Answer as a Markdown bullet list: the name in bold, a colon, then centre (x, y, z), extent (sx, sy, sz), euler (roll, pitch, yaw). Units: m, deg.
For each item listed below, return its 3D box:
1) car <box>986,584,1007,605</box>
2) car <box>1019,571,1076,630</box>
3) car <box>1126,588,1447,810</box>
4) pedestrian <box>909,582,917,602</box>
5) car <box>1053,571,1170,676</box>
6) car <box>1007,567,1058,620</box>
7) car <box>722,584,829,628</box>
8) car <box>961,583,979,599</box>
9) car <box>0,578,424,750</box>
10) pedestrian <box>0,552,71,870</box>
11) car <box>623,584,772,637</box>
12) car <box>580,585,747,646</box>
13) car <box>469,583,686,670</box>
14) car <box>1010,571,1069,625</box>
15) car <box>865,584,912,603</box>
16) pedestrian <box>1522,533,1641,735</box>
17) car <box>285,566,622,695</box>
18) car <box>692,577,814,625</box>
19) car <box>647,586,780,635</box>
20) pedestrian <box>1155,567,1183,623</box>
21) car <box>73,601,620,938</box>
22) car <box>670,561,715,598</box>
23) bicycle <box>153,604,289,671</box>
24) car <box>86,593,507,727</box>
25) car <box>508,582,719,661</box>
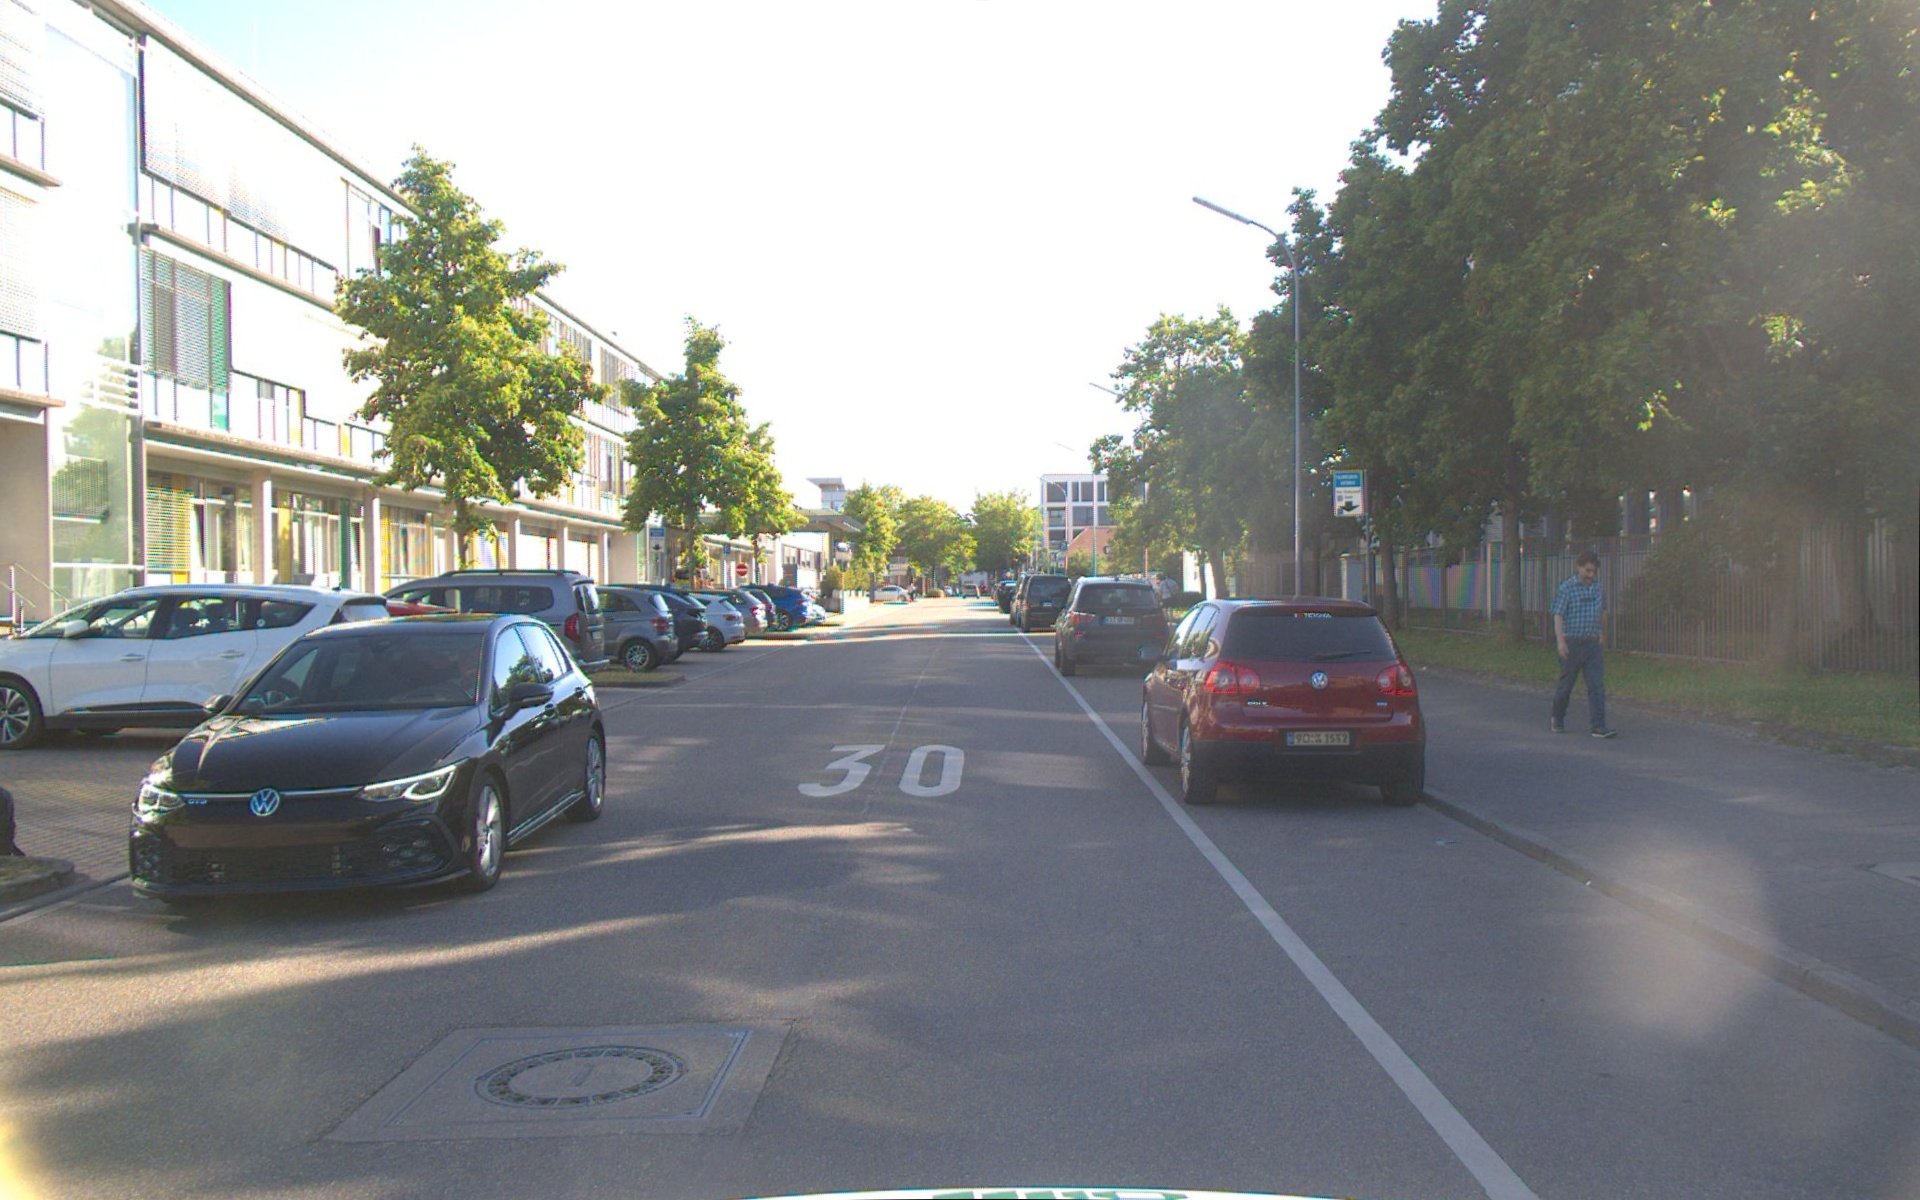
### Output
- **car**: centre (3.673, -0.522, 167.257), extent (1.952, 2.049, 4.000), euler (-1, -1, 0)
- **car**: centre (2.834, -0.008, 54.456), extent (1.697, 1.862, 3.906), euler (-1, 0, 1)
- **car**: centre (2.433, 0.652, 13.455), extent (1.684, 1.480, 4.652), euler (0, 0, 0)
- **pedestrian**: centre (-3.887, -0.660, 137.169), extent (0.606, 1.652, 0.716), euler (-2, 0, 0)
- **car**: centre (2.626, 0.346, 29.495), extent (1.774, 1.695, 4.594), euler (0, 1, 2)
- **car**: centre (2.898, -0.261, 66.944), extent (1.836, 2.013, 4.000), euler (-2, 1, 0)
- **car**: centre (-7.030, 0.213, 63.385), extent (3.907, 1.579, 1.999), euler (-1, 1, -2)
- **car**: centre (1.047, -0.962, 172.209), extent (1.707, 1.570, 4.002), euler (0, 0, 3)
- **car**: centre (-8.226, 0.645, 17.406), extent (4.515, 1.680, 1.868), euler (-1, 0, 4)
- **pedestrian**: centre (-6.061, 0.646, 10.045), extent (0.840, 1.874, 0.826), euler (1, 0, 2)
- **car**: centre (-7.647, 0.292, 48.439), extent (4.130, 1.487, 1.871), euler (0, 0, -3)
- **car**: centre (-7.348, 0.401, 41.285), extent (3.907, 1.383, 1.741), euler (0, -4, -3)
- **car**: centre (-7.487, 0.507, 32.674), extent (3.907, 1.635, 1.871), euler (0, 0, -3)
- **car**: centre (2.887, -0.103, 60.697), extent (1.953, 1.854, 4.199), euler (-2, 1, 0)
- **car**: centre (-6.118, -0.569, 142.052), extent (3.905, 1.545, 2.000), euler (-1, -1, 1)
- **pedestrian**: centre (5.778, 0.304, 15.423), extent (0.703, 1.788, 0.885), euler (-3, 1, 1)
- **car**: centre (-7.776, 0.443, 25.680), extent (4.644, 1.897, 1.828), euler (0, 1, 1)
- **car**: centre (-7.269, 0.021, 58.441), extent (4.130, 1.631, 1.871), euler (0, 0, -3)
- **car**: centre (-7.986, 0.327, 53.857), extent (4.130, 1.512, 1.871), euler (0, 0, -3)
- **pedestrian**: centre (6.523, -0.159, 51.649), extent (0.684, 1.690, 0.752), euler (-4, 0, 0)
- **car**: centre (-3.310, 0.798, 9.841), extent (1.669, 1.476, 4.086), euler (-3, 0, 0)
- **car**: centre (-15.716, -1.196, 97.261), extent (1.952, 2.049, 4.000), euler (-1, -1, 0)
- **bicycle**: centre (-13.608, 0.665, 30.539), extent (0.851, 1.174, 2.373), euler (1, 0, 21)
- **car**: centre (-7.922, 0.690, 20.034), extent (4.342, 1.527, 1.828), euler (0, 0, 1)
- **car**: centre (-7.387, 0.440, 35.628), extent (4.162, 1.640, 2.047), euler (0, 0, -3)
